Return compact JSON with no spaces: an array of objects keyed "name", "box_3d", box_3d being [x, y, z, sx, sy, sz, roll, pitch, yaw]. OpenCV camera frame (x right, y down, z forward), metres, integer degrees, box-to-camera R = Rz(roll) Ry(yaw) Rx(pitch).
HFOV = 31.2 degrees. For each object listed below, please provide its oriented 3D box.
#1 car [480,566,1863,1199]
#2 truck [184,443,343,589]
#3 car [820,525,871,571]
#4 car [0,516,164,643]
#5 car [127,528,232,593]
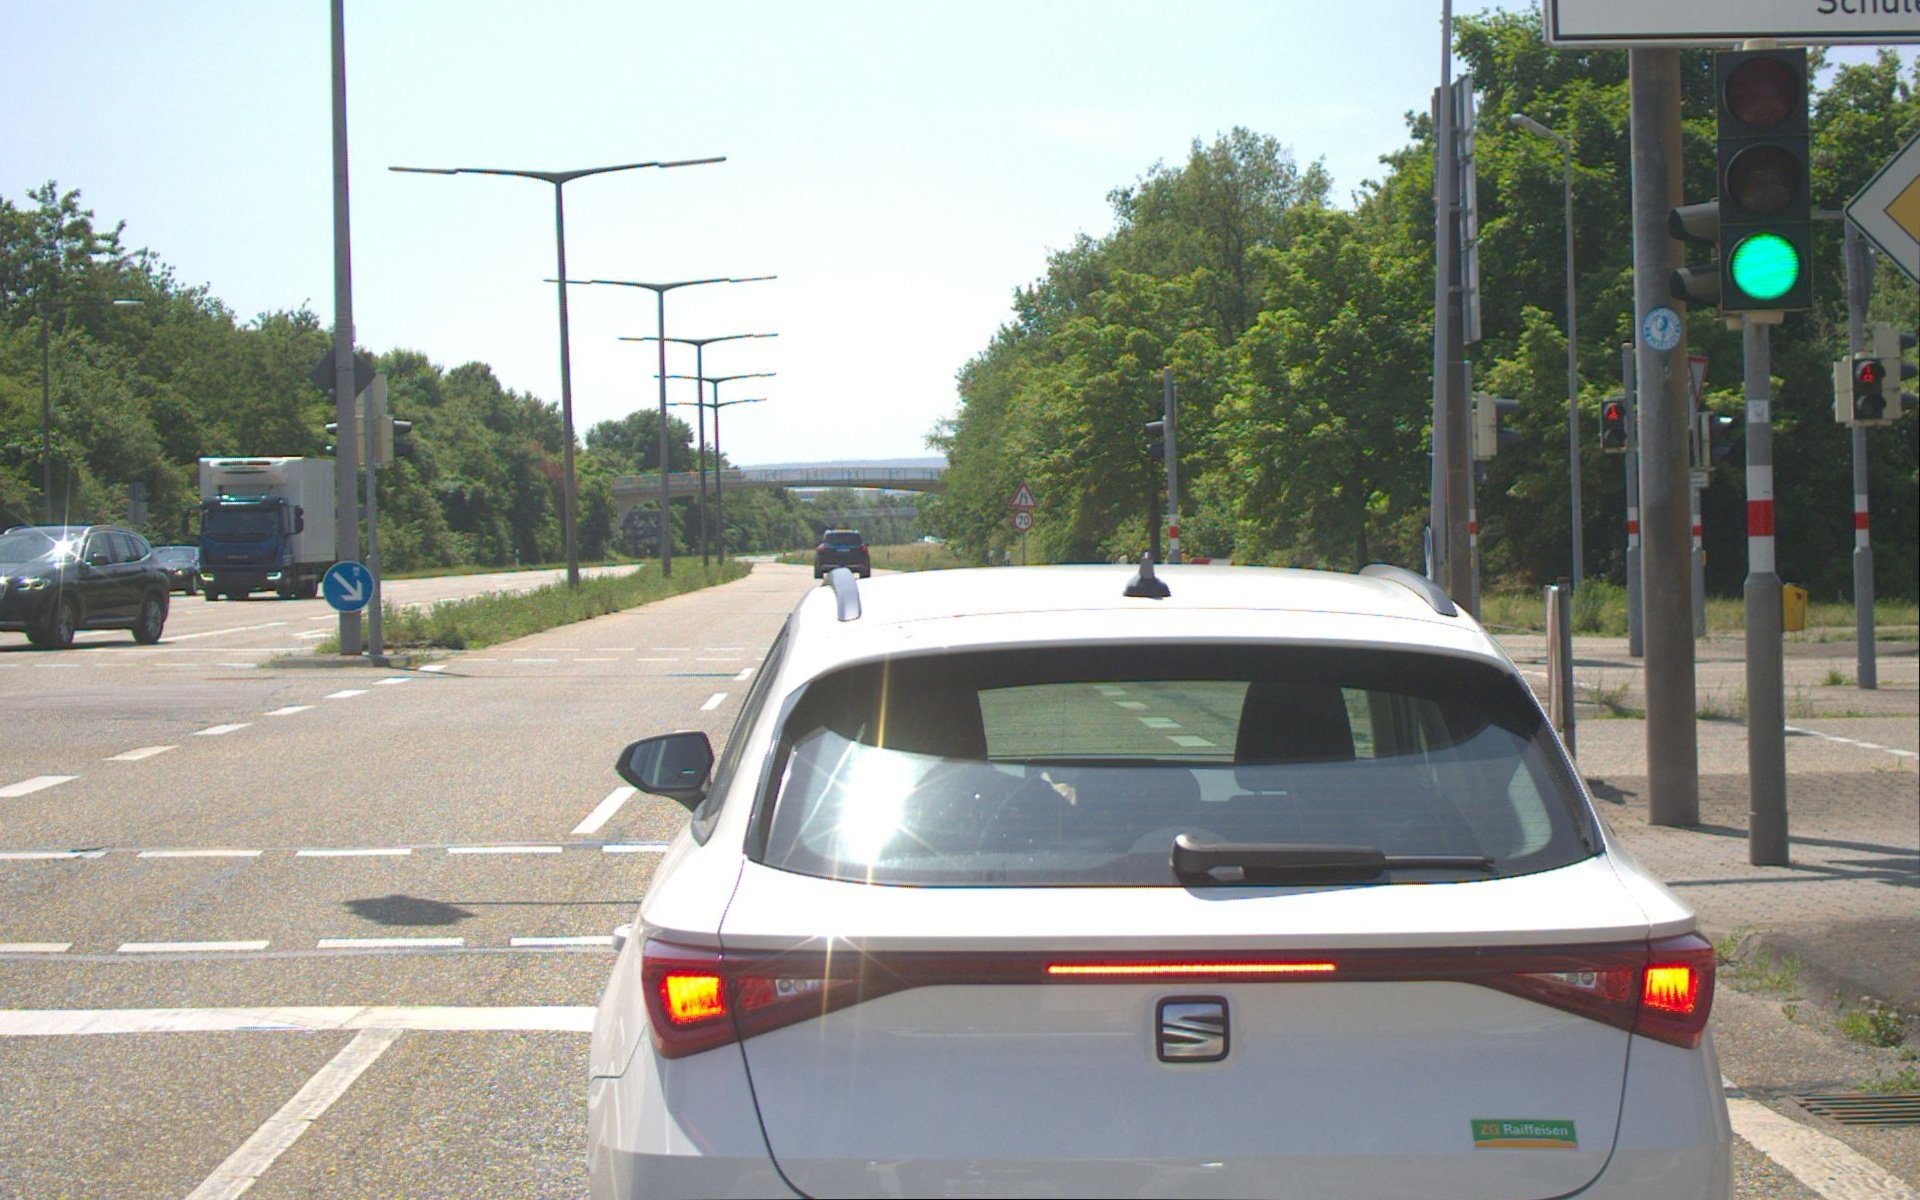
[{"name":"car","box_3d":[0.242,0.664,6.184,1.734,1.423,3.695,1,0,-1]},{"name":"truck","box_3d":[-17.730,-2.136,87.954,2.687,3.558,7.268,0,1,-1]},{"name":"car","box_3d":[-4.309,-1.973,129.683,1.855,1.703,4.001,-1,1,-2]},{"name":"car","box_3d":[-12.569,-0.315,47.649,1.707,1.657,4.222,-1,1,6]},{"name":"car","box_3d":[-21.651,-1.127,95.512,1.822,1.726,4.926,-1,1,-1]}]
